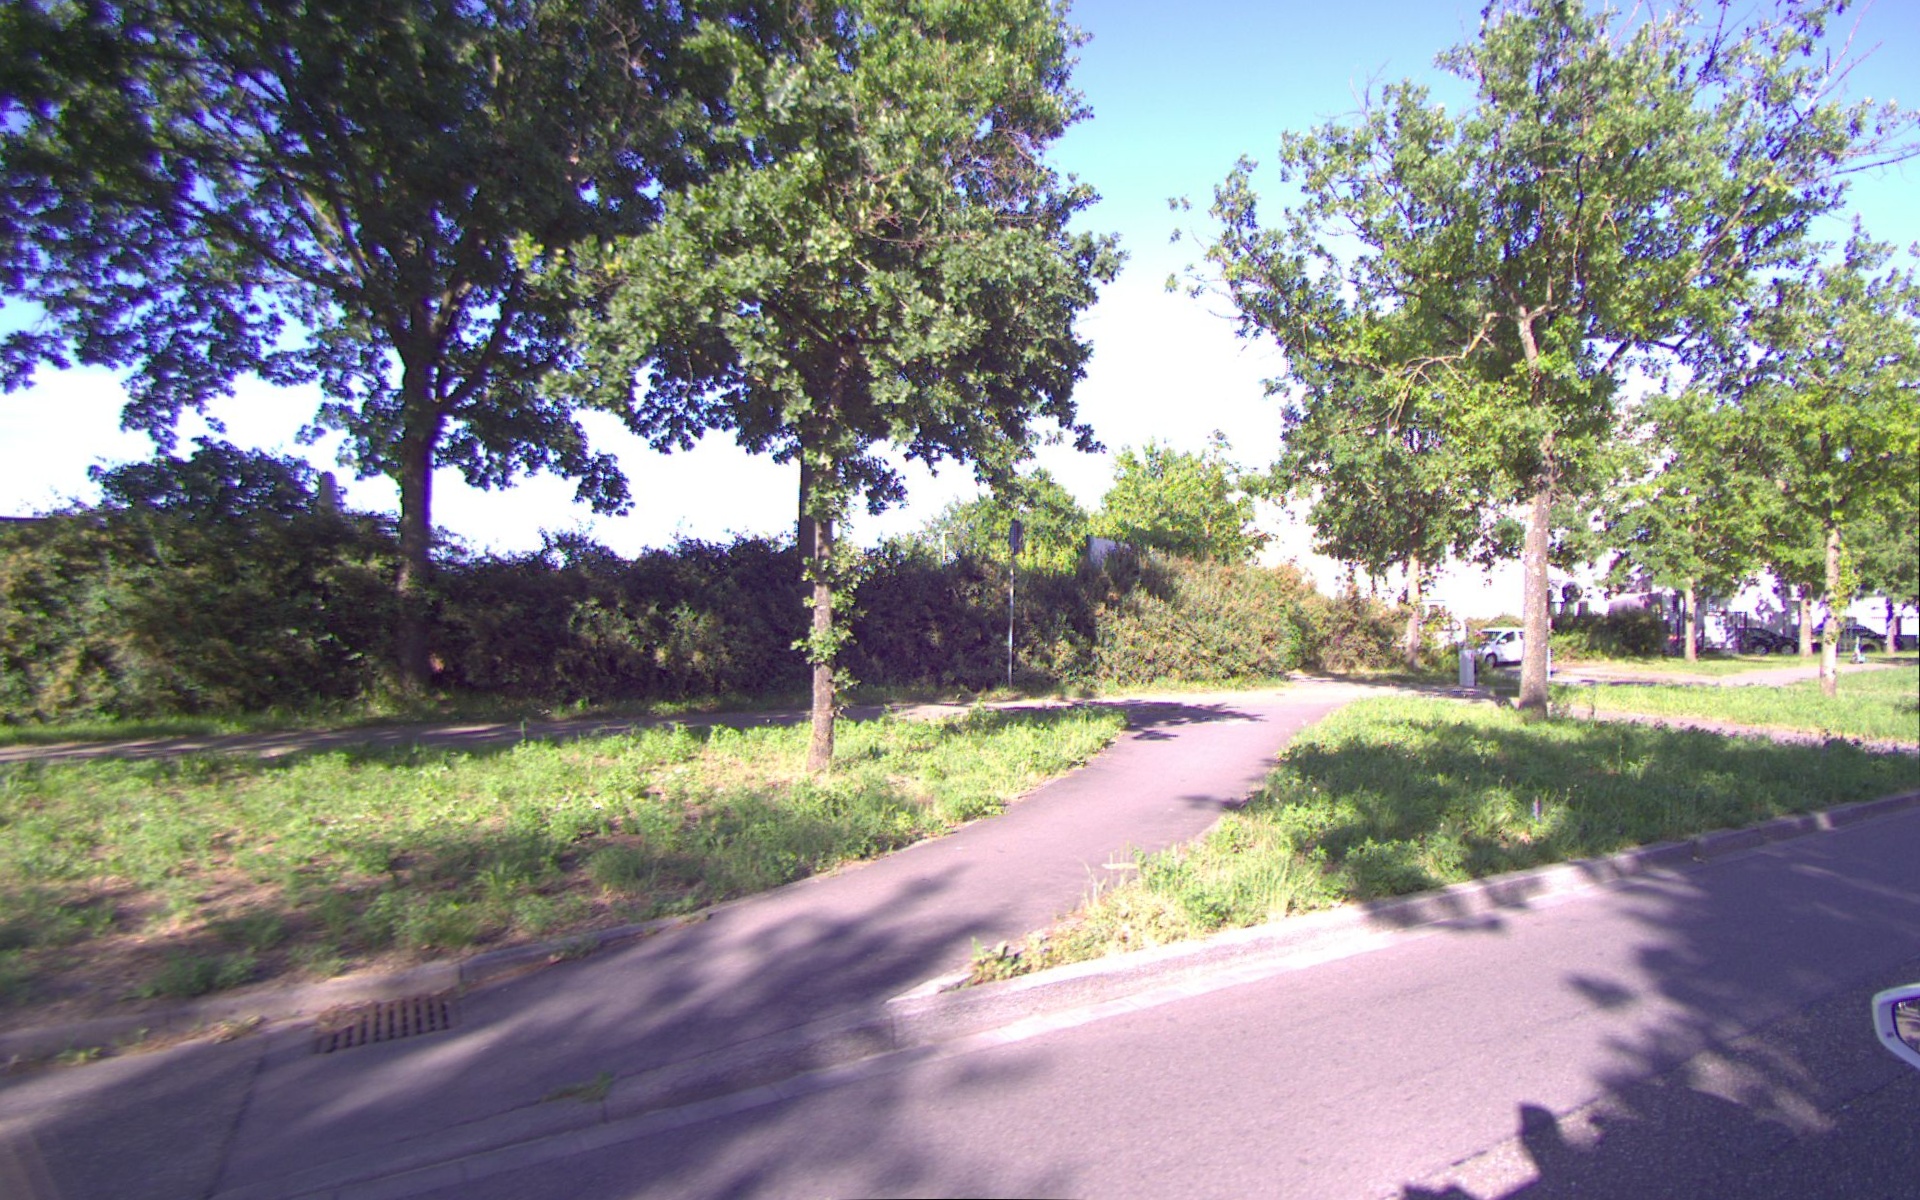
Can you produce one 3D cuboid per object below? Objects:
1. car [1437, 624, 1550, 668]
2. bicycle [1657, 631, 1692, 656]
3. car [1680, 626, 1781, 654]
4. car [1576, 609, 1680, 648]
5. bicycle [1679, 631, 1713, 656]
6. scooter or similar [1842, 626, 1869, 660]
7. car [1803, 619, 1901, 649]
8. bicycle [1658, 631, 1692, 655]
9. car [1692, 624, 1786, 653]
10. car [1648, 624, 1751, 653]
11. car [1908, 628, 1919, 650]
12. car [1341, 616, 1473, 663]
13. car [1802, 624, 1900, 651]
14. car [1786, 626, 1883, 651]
[{"bbox_3d":[21.615,1.828,40.719,3.858,1.525,1.991,-2,0,-20],"label":"car"},{"bbox_3d":[32.452,1.966,45.608,1.870,1.102,0.635,1,-1,-33],"label":"bicycle"},{"bbox_3d":[41.581,2.156,54.283,3.919,1.467,1.802,0,-1,16],"label":"car"},{"bbox_3d":[33.867,1.407,51.042,1.995,1.807,4.011,1,0,-20],"label":"car"},{"bbox_3d":[33.786,1.984,46.088,1.870,1.102,0.635,1,-1,-33],"label":"bicycle"},{"bbox_3d":[35.223,1.689,39.485,1.424,1.296,0.393,1,-1,-31],"label":"scooter or similar"},{"bbox_3d":[62.704,2.381,70.703,4.761,2.040,2.001,0,-1,17],"label":"car"},{"bbox_3d":[33.533,2.006,47.100,1.870,1.102,0.635,1,-1,-33],"label":"bicycle"},{"bbox_3d":[43.625,2.112,56.329,3.928,1.531,1.798,-1,0,30],"label":"car"},{"bbox_3d":[38.524,1.991,52.381,3.918,1.467,1.802,0,-1,11],"label":"car"},{"bbox_3d":[73.278,2.901,74.628,1.932,1.639,3.741,1,-1,-17],"label":"car"},{"bbox_3d":[20.299,1.738,45.617,5.359,1.841,2.298,-2,0,-21],"label":"car"},{"bbox_3d":[54.801,2.291,61.890,4.086,1.559,1.897,0,-1,17],"label":"car"},{"bbox_3d":[52.205,2.281,60.057,3.874,1.420,2.001,0,-1,17],"label":"car"}]
